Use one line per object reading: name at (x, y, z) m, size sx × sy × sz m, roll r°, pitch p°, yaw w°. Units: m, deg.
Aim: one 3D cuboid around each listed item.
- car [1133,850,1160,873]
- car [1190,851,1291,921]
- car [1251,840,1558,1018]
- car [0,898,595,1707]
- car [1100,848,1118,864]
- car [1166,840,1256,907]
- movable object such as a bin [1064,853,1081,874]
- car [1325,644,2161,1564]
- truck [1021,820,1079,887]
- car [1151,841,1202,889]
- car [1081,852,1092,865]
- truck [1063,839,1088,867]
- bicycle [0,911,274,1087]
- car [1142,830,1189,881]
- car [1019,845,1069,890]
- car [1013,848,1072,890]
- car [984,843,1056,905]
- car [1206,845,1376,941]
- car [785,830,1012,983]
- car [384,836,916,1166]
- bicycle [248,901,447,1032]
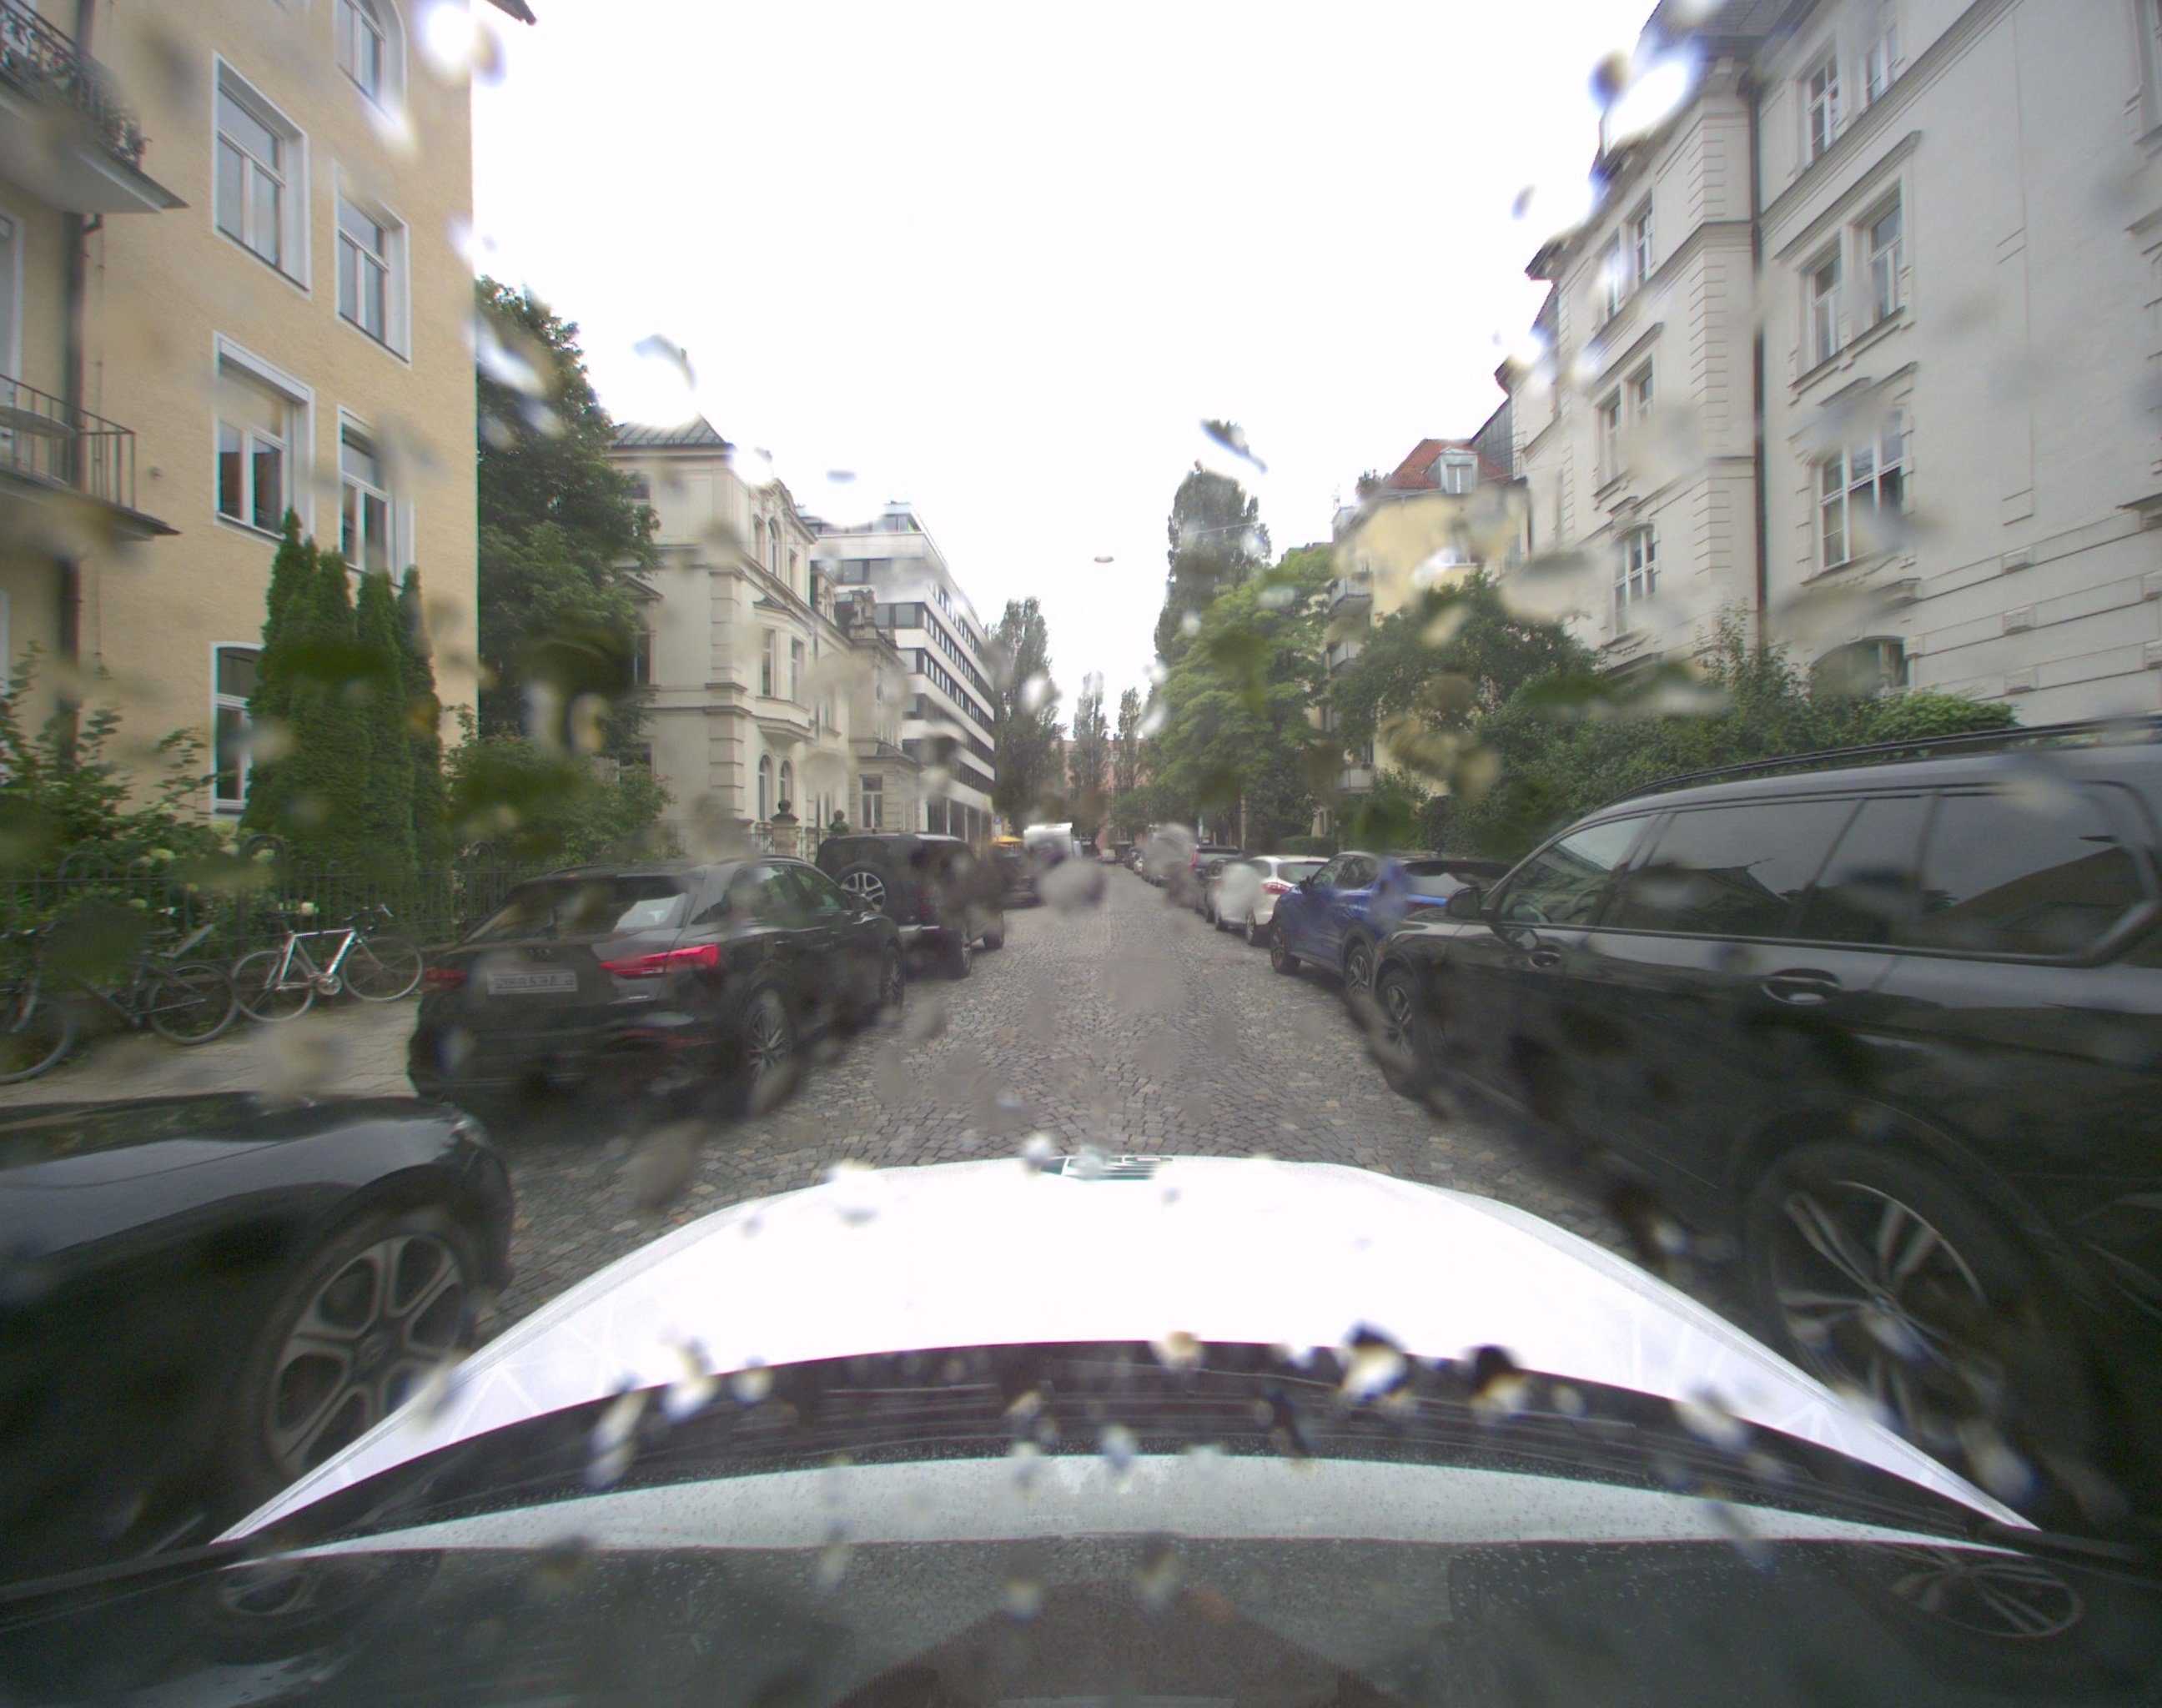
car at (4.418, 0.521, 55.246) m, size 1.594 × 1.486 × 3.480 m, roll 0°, pitch 0°, yaw 1°
car at (3.637, 0.686, 19.230) m, size 1.677 × 1.453 × 3.967 m, roll 1°, pitch 0°, yaw 1°
car at (3.227, 0.659, 9.115) m, size 1.704 × 1.482 × 4.248 m, roll 2°, pitch 0°, yaw -1°
car at (-2.593, 0.854, 0.562) m, size 1.767 × 1.429 × 4.392 m, roll 0°, pitch 0°, yaw 2°
car at (3.436, 0.254, 99.262) m, size 1.988 × 1.936 × 4.003 m, roll -1°, pitch -1°, yaw 3°
car at (3.707, 0.536, 24.056) m, size 1.956 × 1.759 × 4.955 m, roll 0°, pitch 0°, yaw 1°
movable object such as a bin at (-0.552, 0.648, 55.060) m, size 1.060 × 1.363 × 1.290 m, roll 0°, pitch -1°, yaw 1°
car at (2.878, 0.465, 3.652) m, size 1.869 × 1.673 × 5.489 m, roll 0°, pitch 0°, yaw -1°
truck at (-1.476, -0.041, 41.453) m, size 2.500 × 3.031 × 6.385 m, roll -3°, pitch 0°, yaw 1°
car at (4.250, 0.481, 36.923) m, size 1.794 × 1.949 × 4.861 m, roll 2°, pitch 0°, yaw 1°
car at (0.664, 0.511, 96.058) m, size 1.272 × 1.541 × 3.120 m, roll 0°, pitch 0°, yaw 2°
truck at (-0.416, -0.084, 70.256) m, size 1.986 × 2.347 × 4.069 m, roll 0°, pitch -1°, yaw 2°
bicycle at (-6.834, 0.964, 5.890) m, size 0.350 × 1.003 × 1.574 m, roll 0°, pitch -1°, yaw 3°
car at (4.352, 0.051, 42.692) m, size 1.888 × 2.426 × 5.612 m, roll 3°, pitch 0°, yaw 1°
car at (-1.548, 0.541, 35.258) m, size 1.888 × 1.751 × 4.167 m, roll -2°, pitch 0°, yaw 0°
car at (-1.372, 0.532, 30.241) m, size 1.933 × 1.459 × 4.058 m, roll 0°, pitch 0°, yaw 1°
car at (-1.774, 0.566, 24.878) m, size 1.767 × 1.718 × 4.391 m, roll 0°, pitch 0°, yaw 1°
car at (3.522, 0.601, 14.527) m, size 1.769 × 1.429 × 4.387 m, roll 0°, pitch 0°, yaw -2°
car at (-2.298, 0.589, 11.696) m, size 1.974 × 1.737 × 4.726 m, roll 0°, pitch 0°, yaw 3°
car at (-2.593, 0.760, 6.119) m, size 1.573 × 1.590 × 4.060 m, roll -3°, pitch -1°, yaw 3°
bicycle at (-6.715, 0.981, 7.563) m, size 0.350 × 1.003 × 1.574 m, roll 0°, pitch -1°, yaw 3°
